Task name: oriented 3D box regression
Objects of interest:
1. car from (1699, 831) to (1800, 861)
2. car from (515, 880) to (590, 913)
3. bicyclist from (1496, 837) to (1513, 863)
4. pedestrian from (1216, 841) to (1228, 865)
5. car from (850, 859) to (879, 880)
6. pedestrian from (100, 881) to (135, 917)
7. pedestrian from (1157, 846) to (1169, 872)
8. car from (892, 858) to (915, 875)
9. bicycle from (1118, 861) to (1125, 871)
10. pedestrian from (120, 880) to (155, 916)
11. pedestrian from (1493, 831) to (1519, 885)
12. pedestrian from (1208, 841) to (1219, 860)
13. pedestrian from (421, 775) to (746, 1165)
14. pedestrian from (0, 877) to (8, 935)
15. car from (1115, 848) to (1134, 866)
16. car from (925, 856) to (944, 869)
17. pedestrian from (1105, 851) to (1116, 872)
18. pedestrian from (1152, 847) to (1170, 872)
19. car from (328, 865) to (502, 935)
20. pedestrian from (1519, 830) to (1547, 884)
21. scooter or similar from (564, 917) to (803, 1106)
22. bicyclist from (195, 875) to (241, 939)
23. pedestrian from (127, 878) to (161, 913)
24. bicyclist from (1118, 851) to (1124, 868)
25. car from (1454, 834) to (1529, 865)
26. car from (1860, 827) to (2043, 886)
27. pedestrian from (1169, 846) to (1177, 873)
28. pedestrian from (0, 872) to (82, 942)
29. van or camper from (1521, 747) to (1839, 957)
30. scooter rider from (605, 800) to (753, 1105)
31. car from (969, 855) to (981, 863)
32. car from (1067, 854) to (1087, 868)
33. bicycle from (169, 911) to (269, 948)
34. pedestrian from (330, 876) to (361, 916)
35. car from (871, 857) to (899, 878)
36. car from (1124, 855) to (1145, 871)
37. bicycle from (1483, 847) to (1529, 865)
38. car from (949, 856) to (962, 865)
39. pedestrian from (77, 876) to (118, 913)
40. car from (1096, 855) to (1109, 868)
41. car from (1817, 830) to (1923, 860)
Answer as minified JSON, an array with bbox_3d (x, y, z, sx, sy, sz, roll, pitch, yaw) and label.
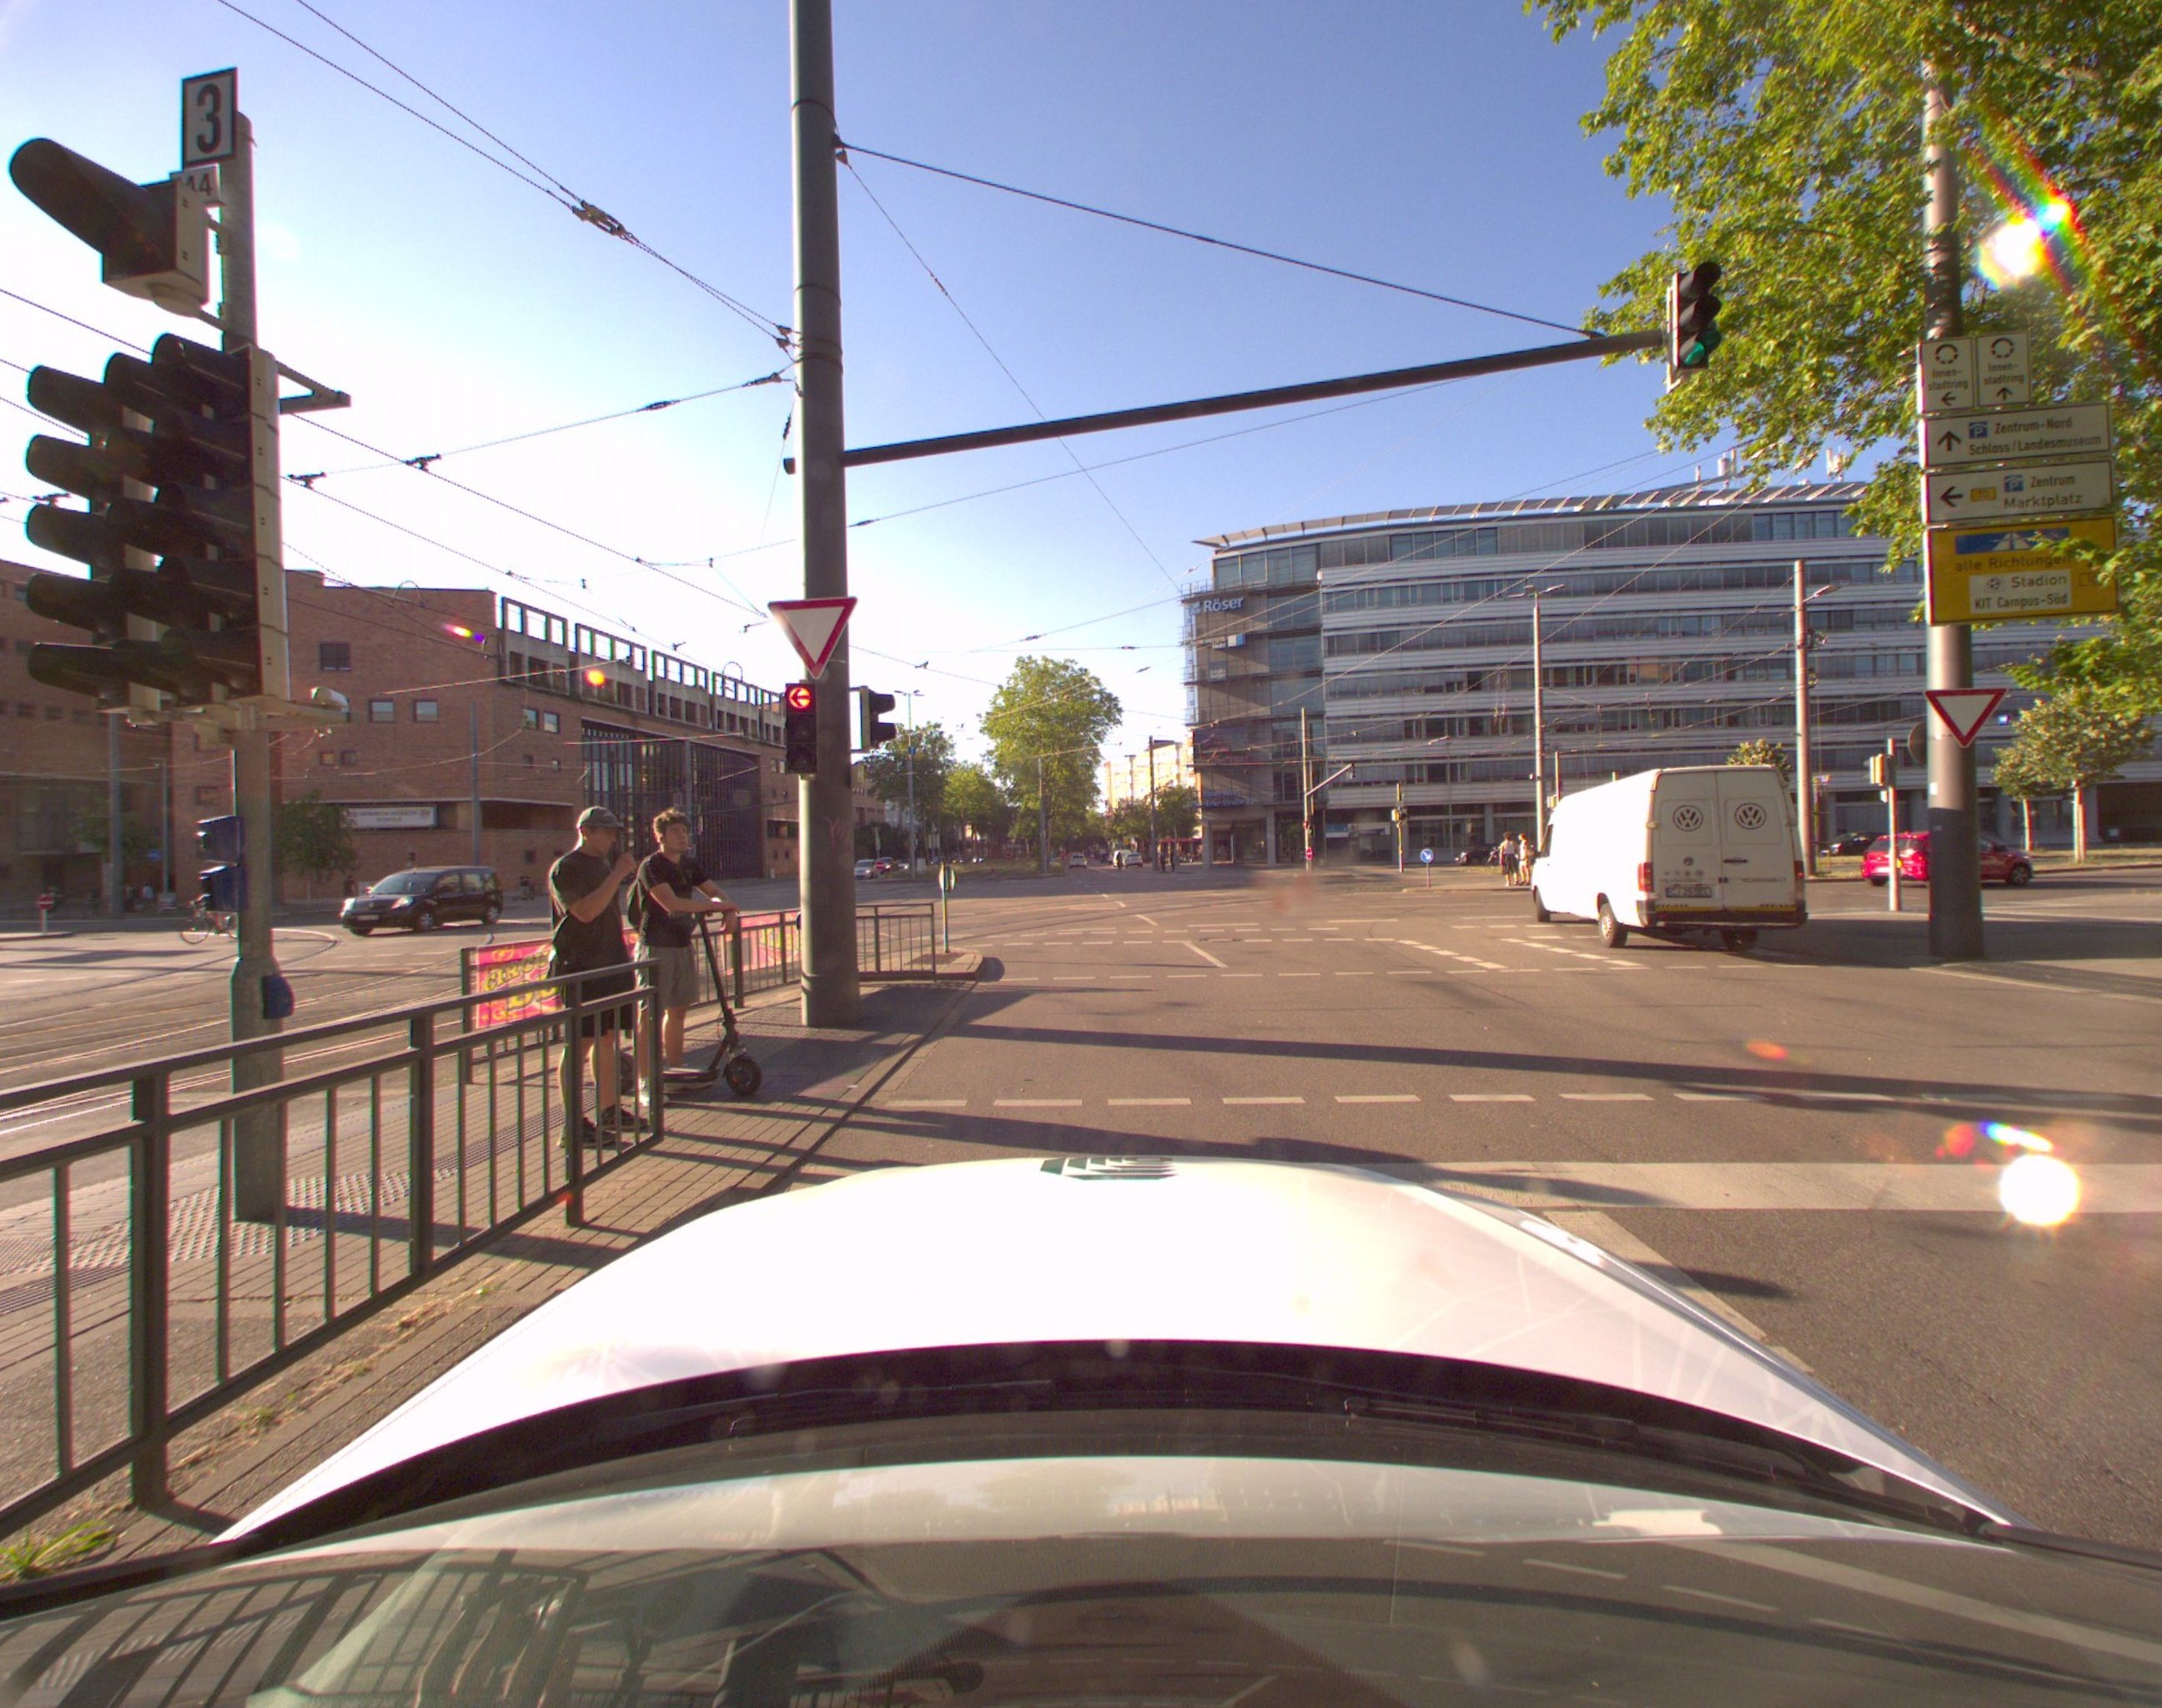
[{"bbox_3d":[37.159,-0.424,45.329,3.968,1.596,1.884,0,-1,5],"label":"car"},{"bbox_3d":[-36.616,2.911,56.583,1.982,2.013,4.203,-3,0,9],"label":"car"},{"bbox_3d":[25.494,-0.238,49.050,0.660,1.503,0.614,-2,0,7],"label":"bicyclist"},{"bbox_3d":[12.177,-0.098,70.261,0.866,2.014,0.794,0,-2,1],"label":"pedestrian"},{"bbox_3d":[-18.006,1.255,67.894,1.618,1.577,3.994,-2,0,-4],"label":"car"},{"bbox_3d":[-56.532,2.618,47.792,1.003,2.052,0.850,-2,0,-1],"label":"pedestrian"},{"bbox_3d":[6.507,0.406,64.359,0.846,2.014,0.707,0,-1,-1],"label":"pedestrian"},{"bbox_3d":[-18.261,1.278,83.927,1.673,1.607,3.994,0,-1,-4],"label":"car"},{"bbox_3d":[3.458,1.039,69.630,0.489,0.788,1.862,-1,0,2],"label":"bicycle"},{"bbox_3d":[-55.328,2.563,47.773,1.003,2.052,0.850,-2,0,-1],"label":"pedestrian"},{"bbox_3d":[14.224,0.129,27.251,0.671,1.759,0.746,-2,0,31],"label":"pedestrian"},{"bbox_3d":[15.900,-0.414,97.896,1.305,2.190,1.173,-1,-1,8],"label":"pedestrian"},{"bbox_3d":[-2.630,0.581,4.424,1.161,1.884,0.856,-2,0,6],"label":"pedestrian"},{"bbox_3d":[-37.769,1.800,28.090,0.615,2.013,0.726,-2,0,-28],"label":"pedestrian"},{"bbox_3d":[4.742,0.342,89.928,1.986,2.014,4.001,0,-1,2],"label":"car"},{"bbox_3d":[-23.934,1.338,132.983,1.867,2.013,4.477,-2,0,4],"label":"car"},{"bbox_3d":[2.328,0.597,65.342,0.866,1.707,0.794,0,-1,1],"label":"pedestrian"},{"bbox_3d":[6.462,0.427,66.151,1.337,1.950,1.011,-2,-1,1],"label":"pedestrian"},{"bbox_3d":[-18.602,1.206,23.026,1.865,1.762,3.992,0,0,-5],"label":"car"},{"bbox_3d":[15.034,0.097,27.125,0.732,1.759,0.689,-2,0,27],"label":"pedestrian"},{"bbox_3d":[-2.554,0.993,5.313,1.196,1.081,0.649,-2,0,5],"label":"scooter or similar"},{"bbox_3d":[-22.635,1.379,21.361,0.585,1.625,0.514,-2,0,-3],"label":"bicyclist"},{"bbox_3d":[-56.469,2.496,49.081,1.003,2.052,0.850,-2,0,-1],"label":"pedestrian"},{"bbox_3d":[3.439,0.468,69.373,0.485,1.439,0.616,-1,-1,1],"label":"bicyclist"},{"bbox_3d":[27.160,-0.292,53.975,3.972,2.014,2.001,0,-1,2],"label":"car"},{"bbox_3d":[23.097,0.066,21.669,3.581,1.459,1.492,-1,0,-7],"label":"car"},{"bbox_3d":[7.101,0.435,62.730,0.584,2.014,0.620,0,-1,2],"label":"pedestrian"},{"bbox_3d":[-31.107,1.556,24.326,1.029,2.014,1.208,0,-1,1],"label":"pedestrian"},{"bbox_3d":[9.315,-0.026,13.567,1.985,2.614,6.525,-2,0,15],"label":"van or camper"},{"bbox_3d":[-2.608,0.612,5.334,0.563,1.853,0.681,-2,-2,6],"label":"scooter rider"},{"bbox_3d":[-24.038,1.124,184.652,1.837,1.783,4.002,-2,0,2],"label":"car"},{"bbox_3d":[-0.410,0.690,83.077,1.740,1.418,4.004,-1,0,4],"label":"car"},{"bbox_3d":[-22.613,1.955,21.419,0.588,0.771,1.966,-2,0,-2],"label":"bicycle"},{"bbox_3d":[-35.719,2.036,39.564,0.721,1.902,0.875,0,-1,-1],"label":"pedestrian"},{"bbox_3d":[-18.101,1.215,75.502,1.819,1.790,3.994,-2,0,-4],"label":"car"},{"bbox_3d":[5.410,0.911,82.825,2.022,1.596,4.001,0,-1,2],"label":"car"},{"bbox_3d":[25.583,0.130,49.037,2.397,1.022,0.638,-2,0,6],"label":"bicycle"},{"bbox_3d":[-25.614,1.380,165.941,1.903,1.783,4.002,-2,0,2],"label":"car"},{"bbox_3d":[-56.223,2.291,46.562,1.155,2.013,0.910,-2,0,-2],"label":"pedestrian"},{"bbox_3d":[3.408,1.107,126.798,1.986,2.014,4.001,0,-1,2],"label":"car"},{"bbox_3d":[45.118,-0.493,46.624,4.097,1.596,1.884,0,-1,5],"label":"car"}]
